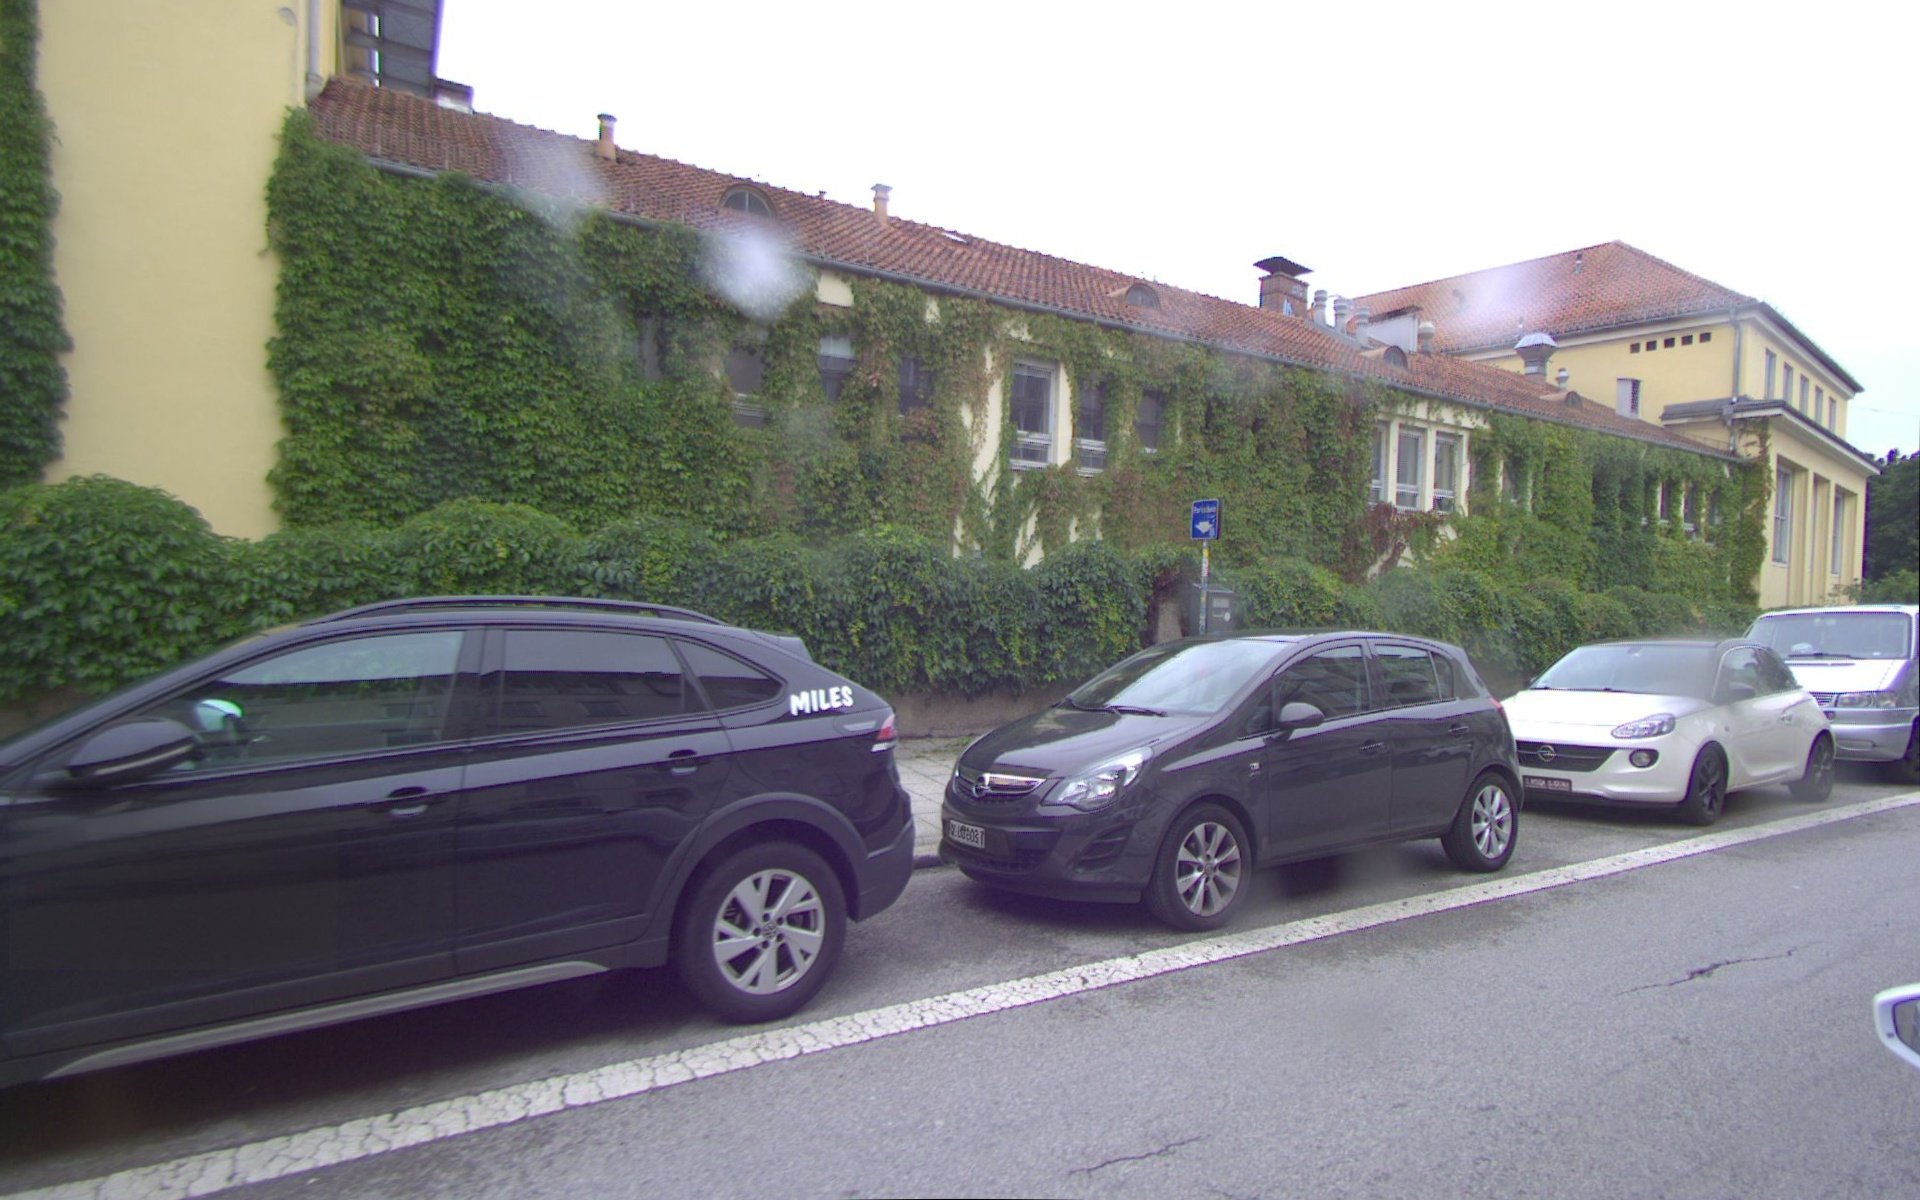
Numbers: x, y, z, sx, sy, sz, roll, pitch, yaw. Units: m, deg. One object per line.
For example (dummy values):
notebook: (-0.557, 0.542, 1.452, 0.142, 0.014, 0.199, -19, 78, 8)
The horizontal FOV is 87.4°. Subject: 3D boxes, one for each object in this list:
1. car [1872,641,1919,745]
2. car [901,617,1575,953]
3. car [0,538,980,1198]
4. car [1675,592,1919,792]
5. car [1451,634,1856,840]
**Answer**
car: (15.419, 1.342, 14.795, 4.716, 1.433, 1.645, 2, -3, -31)
car: (1.856, 0.887, 6.171, 4.205, 1.449, 1.595, 2, -3, -32)
car: (-2.230, 0.710, 3.663, 4.418, 1.651, 1.714, 2, -2, -33)
car: (10.527, 0.978, 11.643, 4.718, 1.914, 1.878, 2, -2, -30)
car: (6.250, 1.059, 8.940, 3.976, 1.460, 1.582, 2, -2, -33)
